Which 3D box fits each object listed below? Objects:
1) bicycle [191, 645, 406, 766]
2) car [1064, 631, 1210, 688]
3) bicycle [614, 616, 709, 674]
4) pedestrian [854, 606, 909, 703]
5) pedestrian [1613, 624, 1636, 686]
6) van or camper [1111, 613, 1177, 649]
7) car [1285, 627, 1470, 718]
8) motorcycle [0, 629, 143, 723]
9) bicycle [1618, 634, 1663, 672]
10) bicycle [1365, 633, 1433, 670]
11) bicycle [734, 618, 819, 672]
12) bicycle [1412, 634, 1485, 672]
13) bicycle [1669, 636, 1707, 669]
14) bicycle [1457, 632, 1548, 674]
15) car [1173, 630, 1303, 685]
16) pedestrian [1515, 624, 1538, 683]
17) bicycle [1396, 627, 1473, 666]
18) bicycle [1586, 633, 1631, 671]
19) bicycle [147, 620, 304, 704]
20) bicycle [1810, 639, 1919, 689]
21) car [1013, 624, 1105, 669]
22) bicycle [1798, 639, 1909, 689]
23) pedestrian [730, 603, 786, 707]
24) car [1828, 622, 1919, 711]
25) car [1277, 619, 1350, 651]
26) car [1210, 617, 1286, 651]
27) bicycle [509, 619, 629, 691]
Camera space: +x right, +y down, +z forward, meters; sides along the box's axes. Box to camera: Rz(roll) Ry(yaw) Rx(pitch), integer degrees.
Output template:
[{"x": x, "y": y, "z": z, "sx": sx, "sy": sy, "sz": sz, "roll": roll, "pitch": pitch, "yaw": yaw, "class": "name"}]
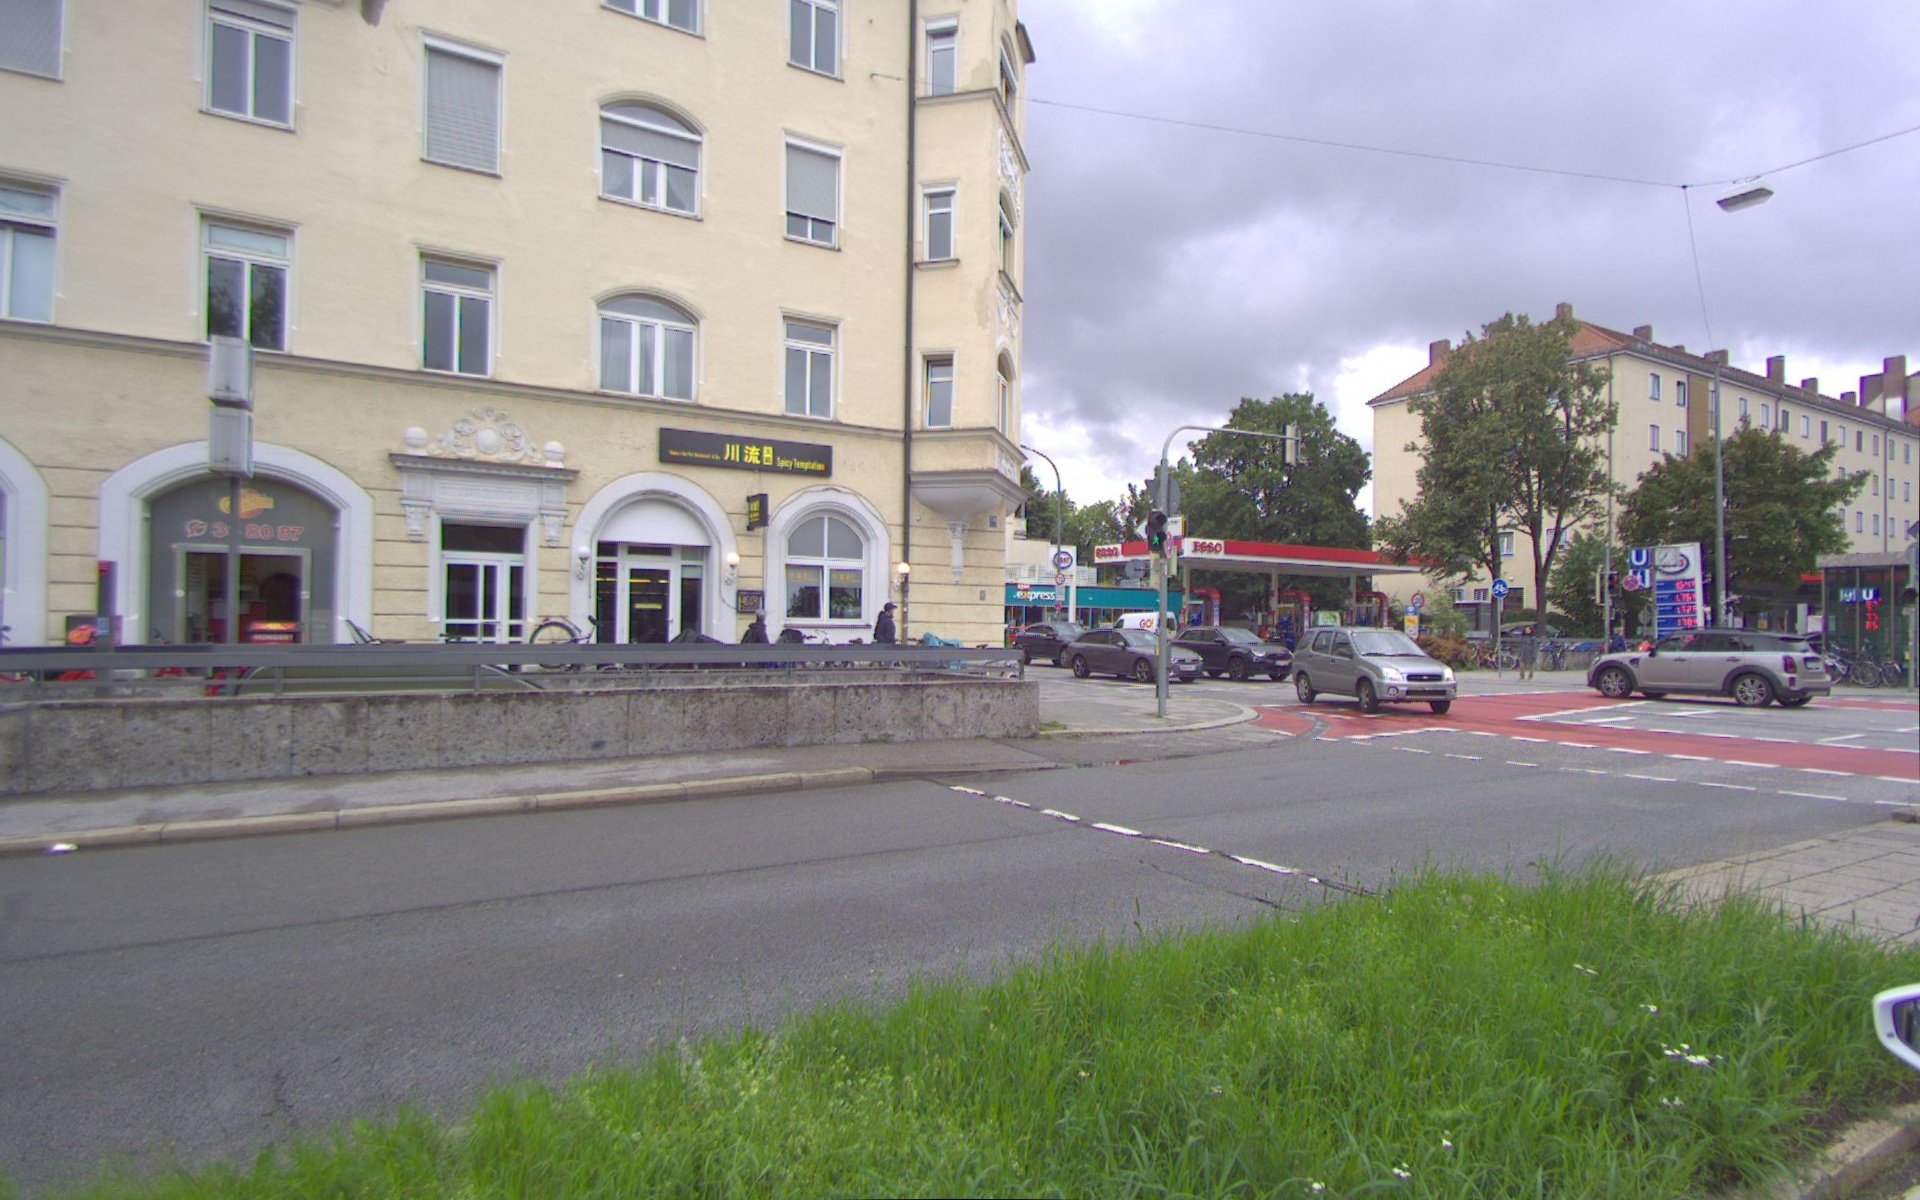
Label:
[{"x": -6.725, "y": 1.037, "z": 10.275, "sx": 1.798, "sy": 1.130, "sz": 0.392, "roll": 1, "pitch": -1, "yaw": -39, "class": "bicycle"}, {"x": 4.889, "y": 1.614, "z": 28.303, "sx": 1.645, "sy": 1.430, "sz": 4.293, "roll": 1, "pitch": -1, "yaw": -31, "class": "car"}, {"x": -5.254, "y": 0.783, "z": 17.717, "sx": 1.527, "sy": 0.993, "sz": 0.470, "roll": 1, "pitch": -1, "yaw": -30, "class": "bicycle"}, {"x": -1.417, "y": 0.971, "z": 18.193, "sx": 0.927, "sy": 1.719, "sz": 0.593, "roll": 1, "pitch": -1, "yaw": 1, "class": "pedestrian"}, {"x": 18.903, "y": 1.552, "z": 28.575, "sx": 0.527, "sy": 1.717, "sz": 0.575, "roll": 0, "pitch": -1, "yaw": 34, "class": "pedestrian"}, {"x": 12.565, "y": 2.100, "z": 68.701, "sx": 1.898, "sy": 2.354, "sz": 4.511, "roll": 1, "pitch": -1, "yaw": -32, "class": "van or camper"}, {"x": 7.884, "y": 1.318, "z": 19.337, "sx": 1.634, "sy": 1.537, "sz": 3.625, "roll": 1, "pitch": -1, "yaw": -9, "class": "car"}, {"x": -11.899, "y": 0.982, "z": 13.240, "sx": 1.947, "sy": 1.137, "sz": 0.610, "roll": 1, "pitch": -1, "yaw": 10, "class": "motorcycle"}, {"x": 23.444, "y": 1.801, "z": 34.591, "sx": 2.167, "sy": 1.252, "sz": 0.603, "roll": 1, "pitch": -1, "yaw": -37, "class": "bicycle"}, {"x": 15.909, "y": 1.852, "z": 36.452, "sx": 0.759, "sy": 1.252, "sz": 2.162, "roll": 1, "pitch": -1, "yaw": -39, "class": "bicycle"}, {"x": -3.501, "y": 0.847, "z": 19.181, "sx": 1.527, "sy": 0.993, "sz": 0.470, "roll": 1, "pitch": -1, "yaw": -30, "class": "bicycle"}, {"x": 16.925, "y": 1.817, "z": 34.810, "sx": 0.760, "sy": 1.252, "sz": 2.161, "roll": 1, "pitch": -1, "yaw": -41, "class": "bicycle"}, {"x": 26.808, "y": 1.927, "z": 36.972, "sx": 1.947, "sy": 1.160, "sz": 0.603, "roll": 1, "pitch": -1, "yaw": -37, "class": "bicycle"}, {"x": 18.464, "y": 1.789, "z": 34.243, "sx": 2.664, "sy": 1.267, "sz": 0.792, "roll": 2, "pitch": 0, "yaw": 30, "class": "bicycle"}, {"x": 7.894, "y": 1.598, "z": 28.772, "sx": 1.643, "sy": 1.430, "sz": 3.534, "roll": 1, "pitch": -1, "yaw": -27, "class": "car"}, {"x": 16.764, "y": 1.569, "z": 29.743, "sx": 0.581, "sy": 1.717, "sz": 0.576, "roll": 0, "pitch": -1, "yaw": 29, "class": "pedestrian"}, {"x": 16.982, "y": 1.651, "z": 36.010, "sx": 0.785, "sy": 1.267, "sz": 2.374, "roll": 2, "pitch": 0, "yaw": -40, "class": "bicycle"}, {"x": 22.436, "y": 1.788, "z": 34.727, "sx": 2.167, "sy": 1.252, "sz": 0.603, "roll": 1, "pitch": -1, "yaw": -37, "class": "bicycle"}, {"x": -9.151, "y": 0.762, "z": 12.579, "sx": 1.527, "sy": 0.993, "sz": 0.470, "roll": 1, "pitch": -1, "yaw": -30, "class": "bicycle"}, {"x": 25.896, "y": 1.810, "z": 28.784, "sx": 0.685, "sy": 1.322, "sz": 2.275, "roll": 1, "pitch": -1, "yaw": -28, "class": "bicycle"}, {"x": 3.598, "y": 1.670, "z": 36.832, "sx": 1.677, "sy": 1.534, "sz": 3.308, "roll": 1, "pitch": -1, "yaw": -32, "class": "car"}, {"x": 25.213, "y": 1.778, "z": 28.405, "sx": 0.695, "sy": 1.322, "sz": 2.262, "roll": 1, "pitch": -1, "yaw": -28, "class": "bicycle"}, {"x": -3.416, "y": 0.914, "z": 16.959, "sx": 0.762, "sy": 1.719, "sz": 0.539, "roll": 1, "pitch": -1, "yaw": -34, "class": "pedestrian"}, {"x": 17.853, "y": 1.172, "z": 17.262, "sx": 1.676, "sy": 1.534, "sz": 4.148, "roll": 1, "pitch": -1, "yaw": -30, "class": "car"}, {"x": 21.439, "y": 2.104, "z": 61.091, "sx": 1.836, "sy": 1.808, "sz": 3.968, "roll": 1, "pitch": -1, "yaw": -30, "class": "car"}, {"x": 16.100, "y": 1.888, "z": 56.386, "sx": 1.836, "sy": 1.808, "sz": 3.968, "roll": 1, "pitch": -1, "yaw": -30, "class": "car"}, {"x": -5.564, "y": 0.770, "z": 14.327, "sx": 1.527, "sy": 0.993, "sz": 0.470, "roll": 1, "pitch": -1, "yaw": -30, "class": "bicycle"}]
